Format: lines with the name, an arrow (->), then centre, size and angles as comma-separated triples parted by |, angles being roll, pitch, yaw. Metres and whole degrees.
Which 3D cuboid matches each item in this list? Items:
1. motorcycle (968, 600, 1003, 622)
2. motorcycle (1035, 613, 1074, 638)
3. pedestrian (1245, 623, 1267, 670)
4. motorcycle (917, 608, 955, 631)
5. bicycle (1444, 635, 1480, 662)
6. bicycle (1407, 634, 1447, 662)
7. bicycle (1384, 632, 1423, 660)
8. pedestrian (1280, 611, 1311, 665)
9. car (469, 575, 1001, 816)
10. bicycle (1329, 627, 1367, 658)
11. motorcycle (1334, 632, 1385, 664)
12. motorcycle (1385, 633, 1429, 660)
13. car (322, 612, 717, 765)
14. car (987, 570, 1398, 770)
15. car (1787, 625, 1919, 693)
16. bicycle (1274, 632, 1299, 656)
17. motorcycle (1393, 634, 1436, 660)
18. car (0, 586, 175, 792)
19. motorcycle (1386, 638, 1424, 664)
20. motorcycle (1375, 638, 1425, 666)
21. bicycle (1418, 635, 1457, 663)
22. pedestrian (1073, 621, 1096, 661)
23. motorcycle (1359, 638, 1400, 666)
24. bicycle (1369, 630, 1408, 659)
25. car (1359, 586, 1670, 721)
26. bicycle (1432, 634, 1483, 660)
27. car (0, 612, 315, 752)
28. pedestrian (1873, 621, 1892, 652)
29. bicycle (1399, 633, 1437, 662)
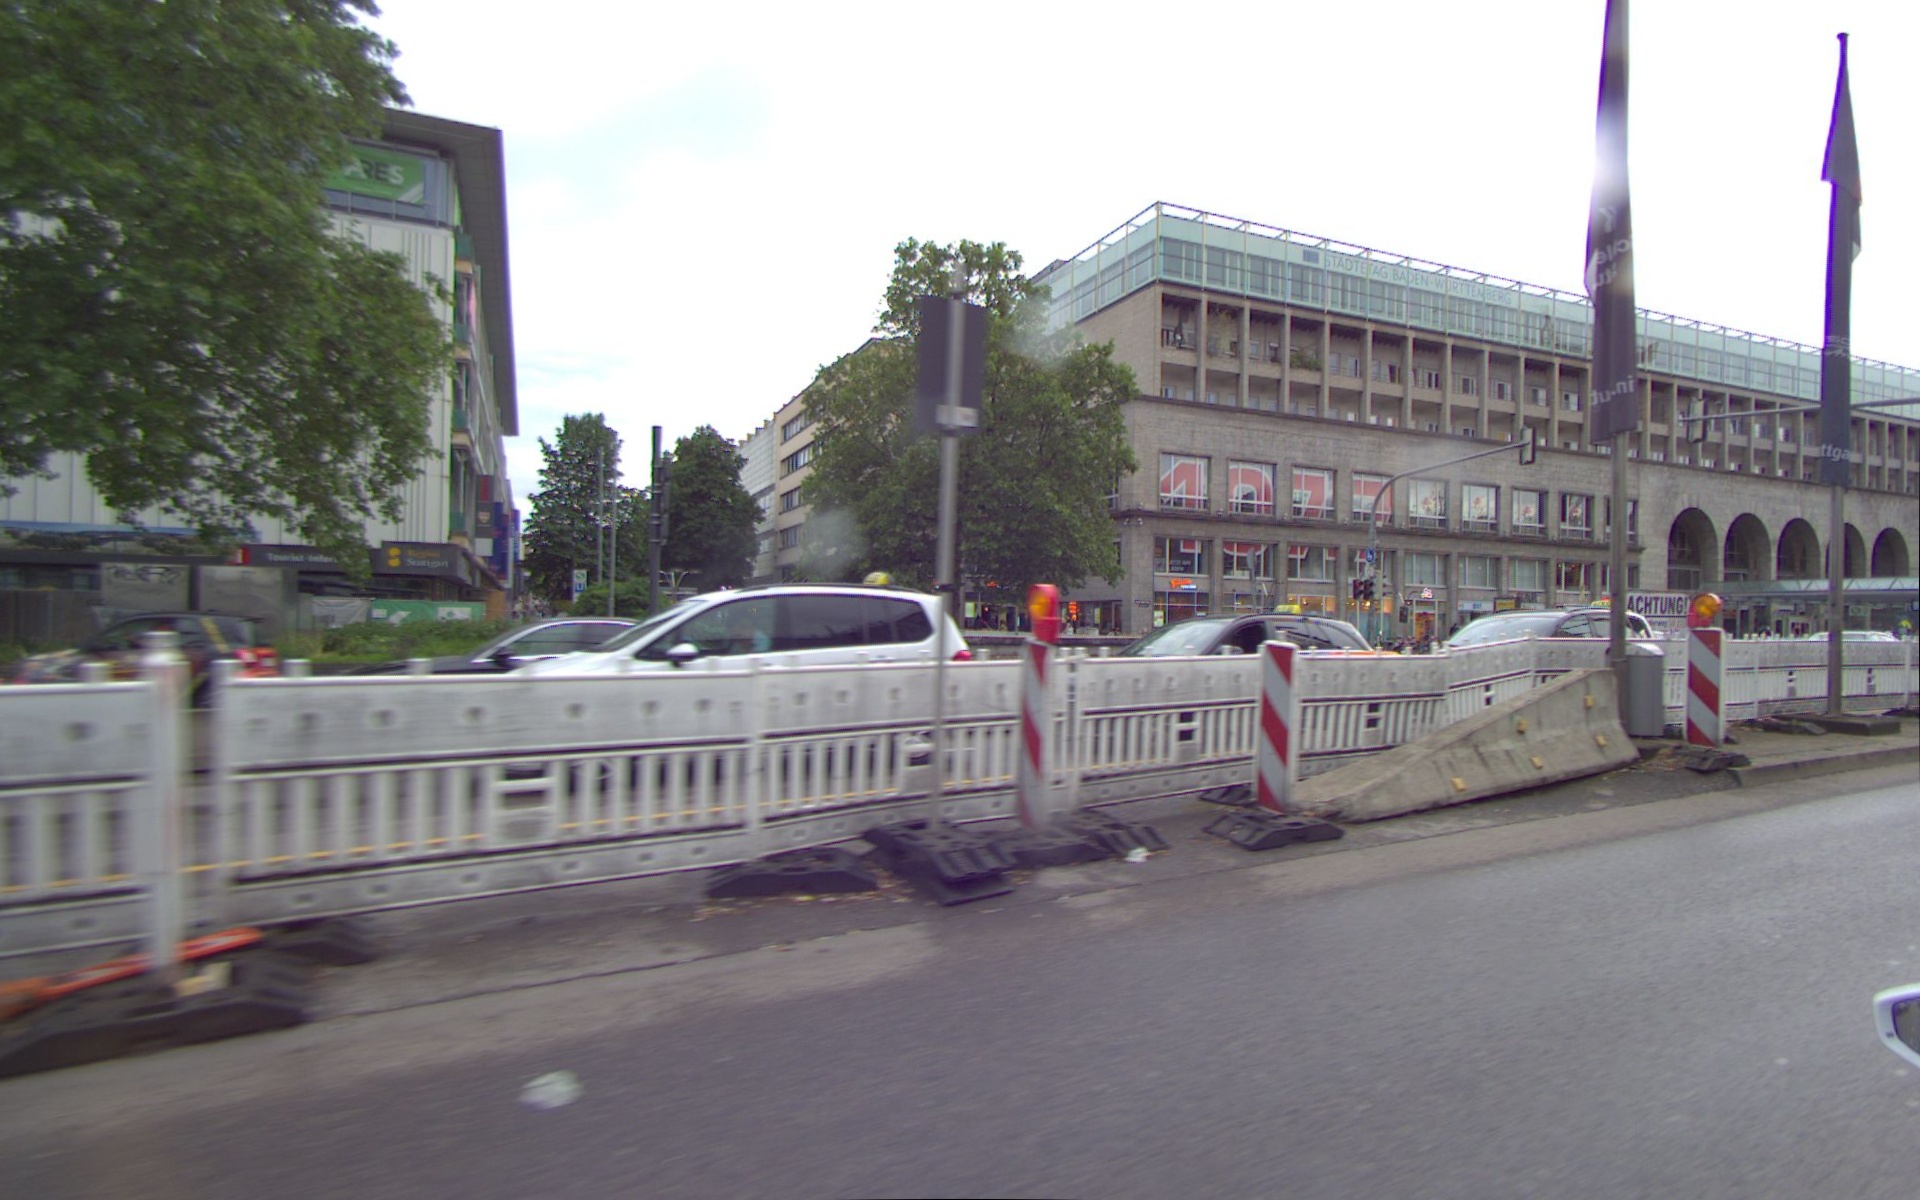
motorcycle -> 1.244, 0.556, 49.341 | 1.696, 1.061, 0.528 | 1, 0, -29
motorcycle -> 4.122, 1.104, 43.741 | 1.696, 1.061, 0.528 | 1, 0, -29
pedestrian -> 10.687, 1.682, 36.275 | 0.522, 1.663, 0.606 | -3, -4, 45
motorcycle -> -1.084, 0.884, 45.475 | 1.696, 1.061, 0.528 | 1, 0, -29
bicycle -> 25.534, 2.462, 51.097 | 0.565, 1.343, 1.551 | 1, 0, -34
bicycle -> 23.465, 2.386, 50.471 | 0.673, 1.343, 1.718 | 1, 0, -34
bicycle -> 21.922, 2.254, 49.665 | 0.673, 1.343, 1.657 | 1, 0, -34
pedestrian -> 10.870, 1.233, 32.547 | 0.553, 1.707, 0.747 | 1, -3, -28
car -> -1.978, 0.708, 9.120 | 4.426, 1.745, 1.777 | 0, -1, -28
bicycle -> 19.463, 2.105, 50.385 | 1.742, 1.454, 0.680 | 1, 1, 22
motorcycle -> 17.001, 2.013, 42.784 | 0.691, 1.244, 1.930 | 0, 1, -43
motorcycle -> 19.811, 2.063, 44.561 | 0.578, 1.072, 1.695 | 0, 1, -37
car -> -5.100, 0.909, 11.788 | 3.955, 1.461, 1.983 | 1, 1, -32
car -> 2.709, 0.662, 11.533 | 4.466, 1.923, 1.895 | 0, 1, -28
car -> 24.478, 1.547, 27.219 | 3.993, 1.632, 1.806 | 0, 1, -28
bicycle -> 15.359, 2.057, 47.246 | 0.417, 1.071, 1.616 | 0, 1, -9
motorcycle -> 20.520, 2.099, 45.407 | 0.578, 1.072, 1.695 | 0, 1, -37
car -> -10.845, 0.879, 10.452 | 3.954, 2.041, 1.983 | 0, 1, -31
motorcycle -> 19.825, 2.276, 44.768 | 0.597, 1.072, 1.429 | 0, 1, -35
motorcycle -> 17.955, 2.120, 41.025 | 1.778, 1.072, 0.603 | 1, 1, 12
bicycle -> 24.186, 2.450, 50.883 | 0.673, 1.343, 1.695 | 1, 0, -34
pedestrian -> 6.508, 2.140, 52.394 | 0.812, 2.040, 0.871 | 1, 0, -31
motorcycle -> 16.441, 2.028, 39.350 | 1.599, 1.060, 0.476 | 0, 1, -20
bicycle -> 21.037, 2.180, 49.292 | 0.673, 1.343, 1.657 | 1, 0, -34
car -> 8.207, 0.684, 14.810 | 4.443, 1.722, 1.895 | 0, 1, -28
bicycle -> 22.702, 2.135, 45.858 | 0.590, 1.091, 2.076 | 0, 1, -32
car -> -11.198, 1.031, 13.492 | 3.943, 1.639, 1.989 | 1, 1, -23
pedestrian -> 45.996, 1.825, 50.084 | 0.575, 1.527, 0.624 | 1, 1, 35
bicycle -> 22.812, 2.350, 50.057 | 0.673, 1.343, 1.657 | 1, 0, -34
